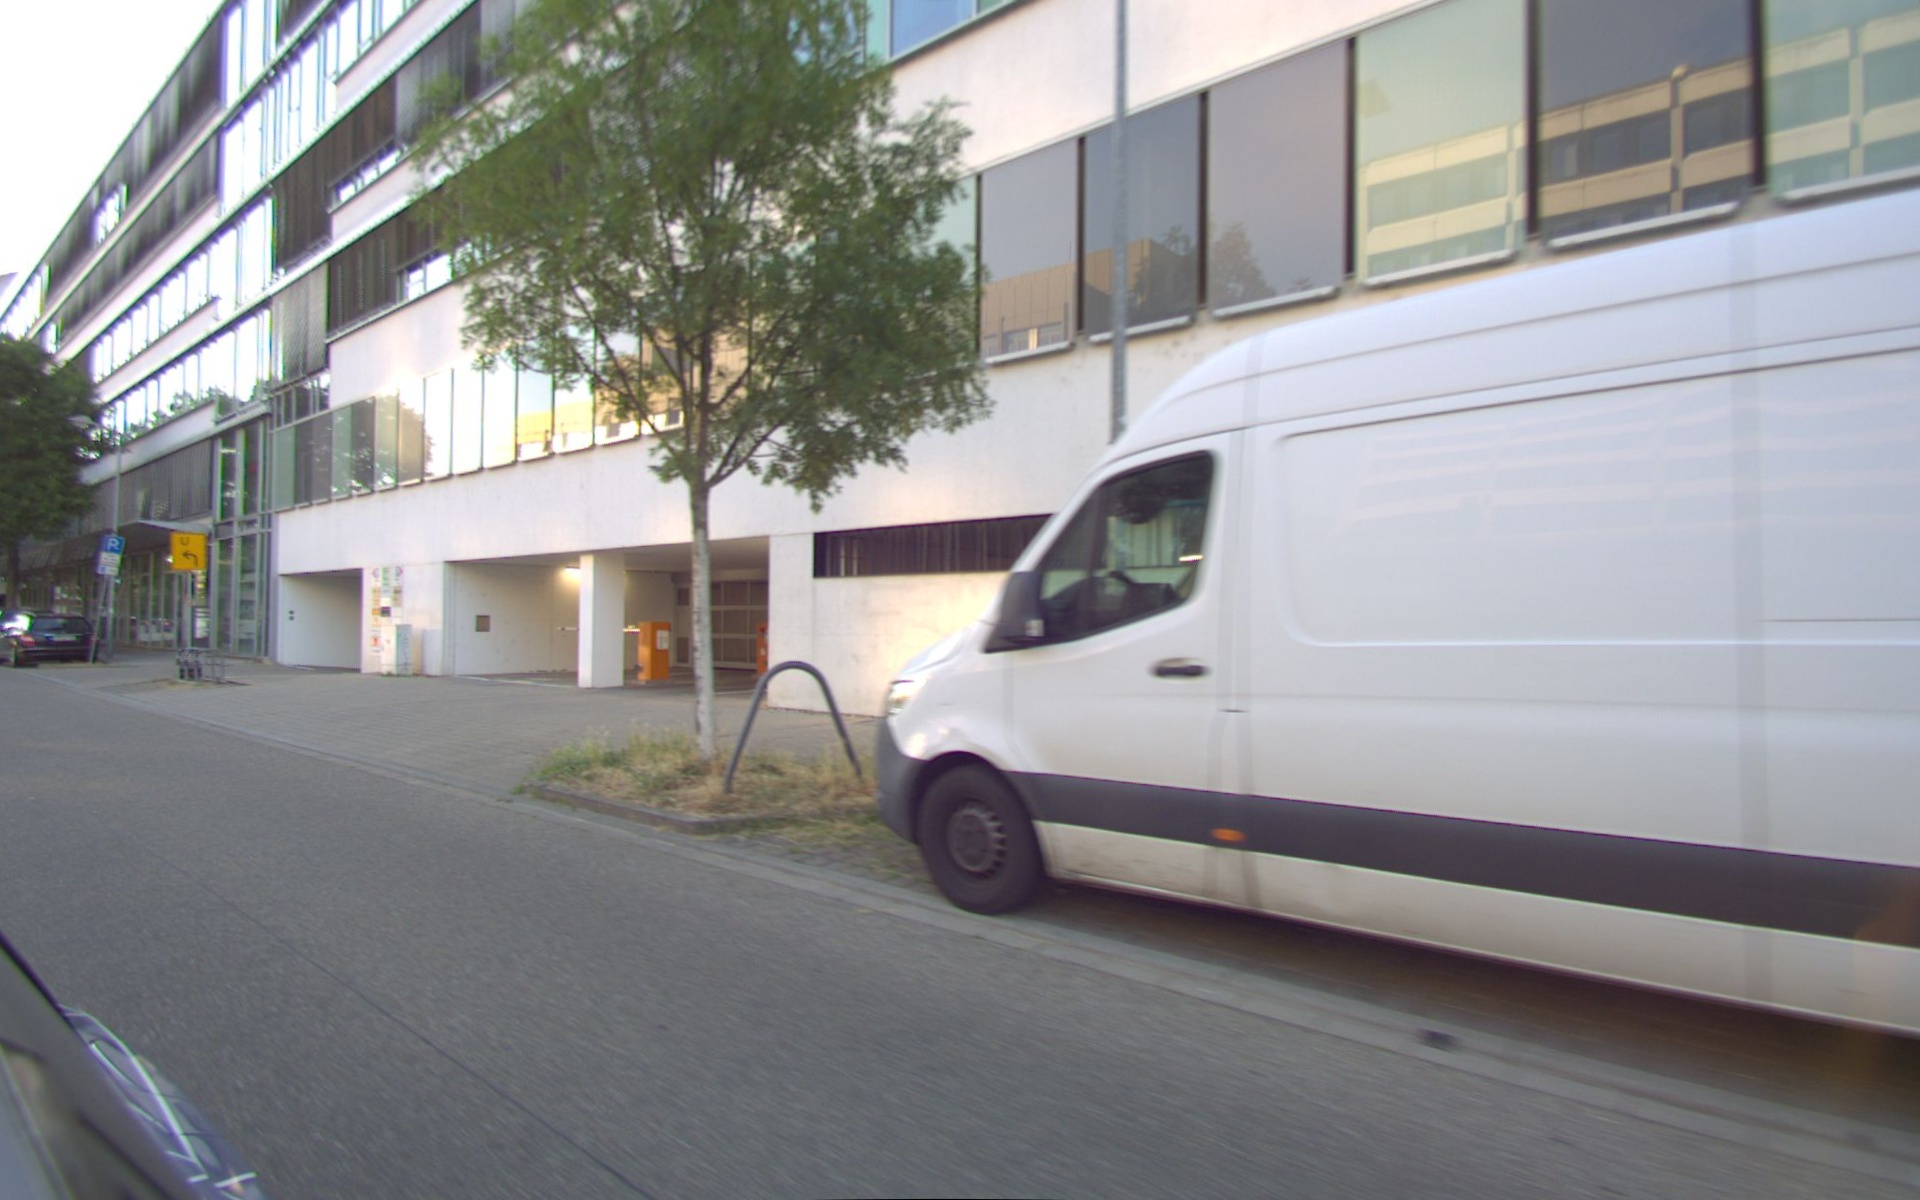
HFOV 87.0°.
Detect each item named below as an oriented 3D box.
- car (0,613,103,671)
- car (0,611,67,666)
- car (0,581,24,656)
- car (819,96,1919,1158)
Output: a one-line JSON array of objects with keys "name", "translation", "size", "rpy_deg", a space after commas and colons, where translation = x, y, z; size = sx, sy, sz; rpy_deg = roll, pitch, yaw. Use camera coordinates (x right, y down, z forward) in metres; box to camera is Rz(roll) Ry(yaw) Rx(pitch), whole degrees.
[{"name": "car", "translation": [-25.110, 1.124, 27.590], "size": [4.390, 1.463, 1.699], "rpy_deg": [-1, -2, 36]}, {"name": "car", "translation": [-29.117, 1.170, 31.190], "size": [4.264, 1.583, 1.825], "rpy_deg": [-2, -2, 41]}, {"name": "car", "translation": [-37.357, 0.723, 38.252], "size": [6.946, 2.684, 2.079], "rpy_deg": [-2, -2, 41]}, {"name": "car", "translation": [2.526, 0.072, 3.676], "size": [6.888, 2.637, 1.938], "rpy_deg": [-2, 0, 41]}]
